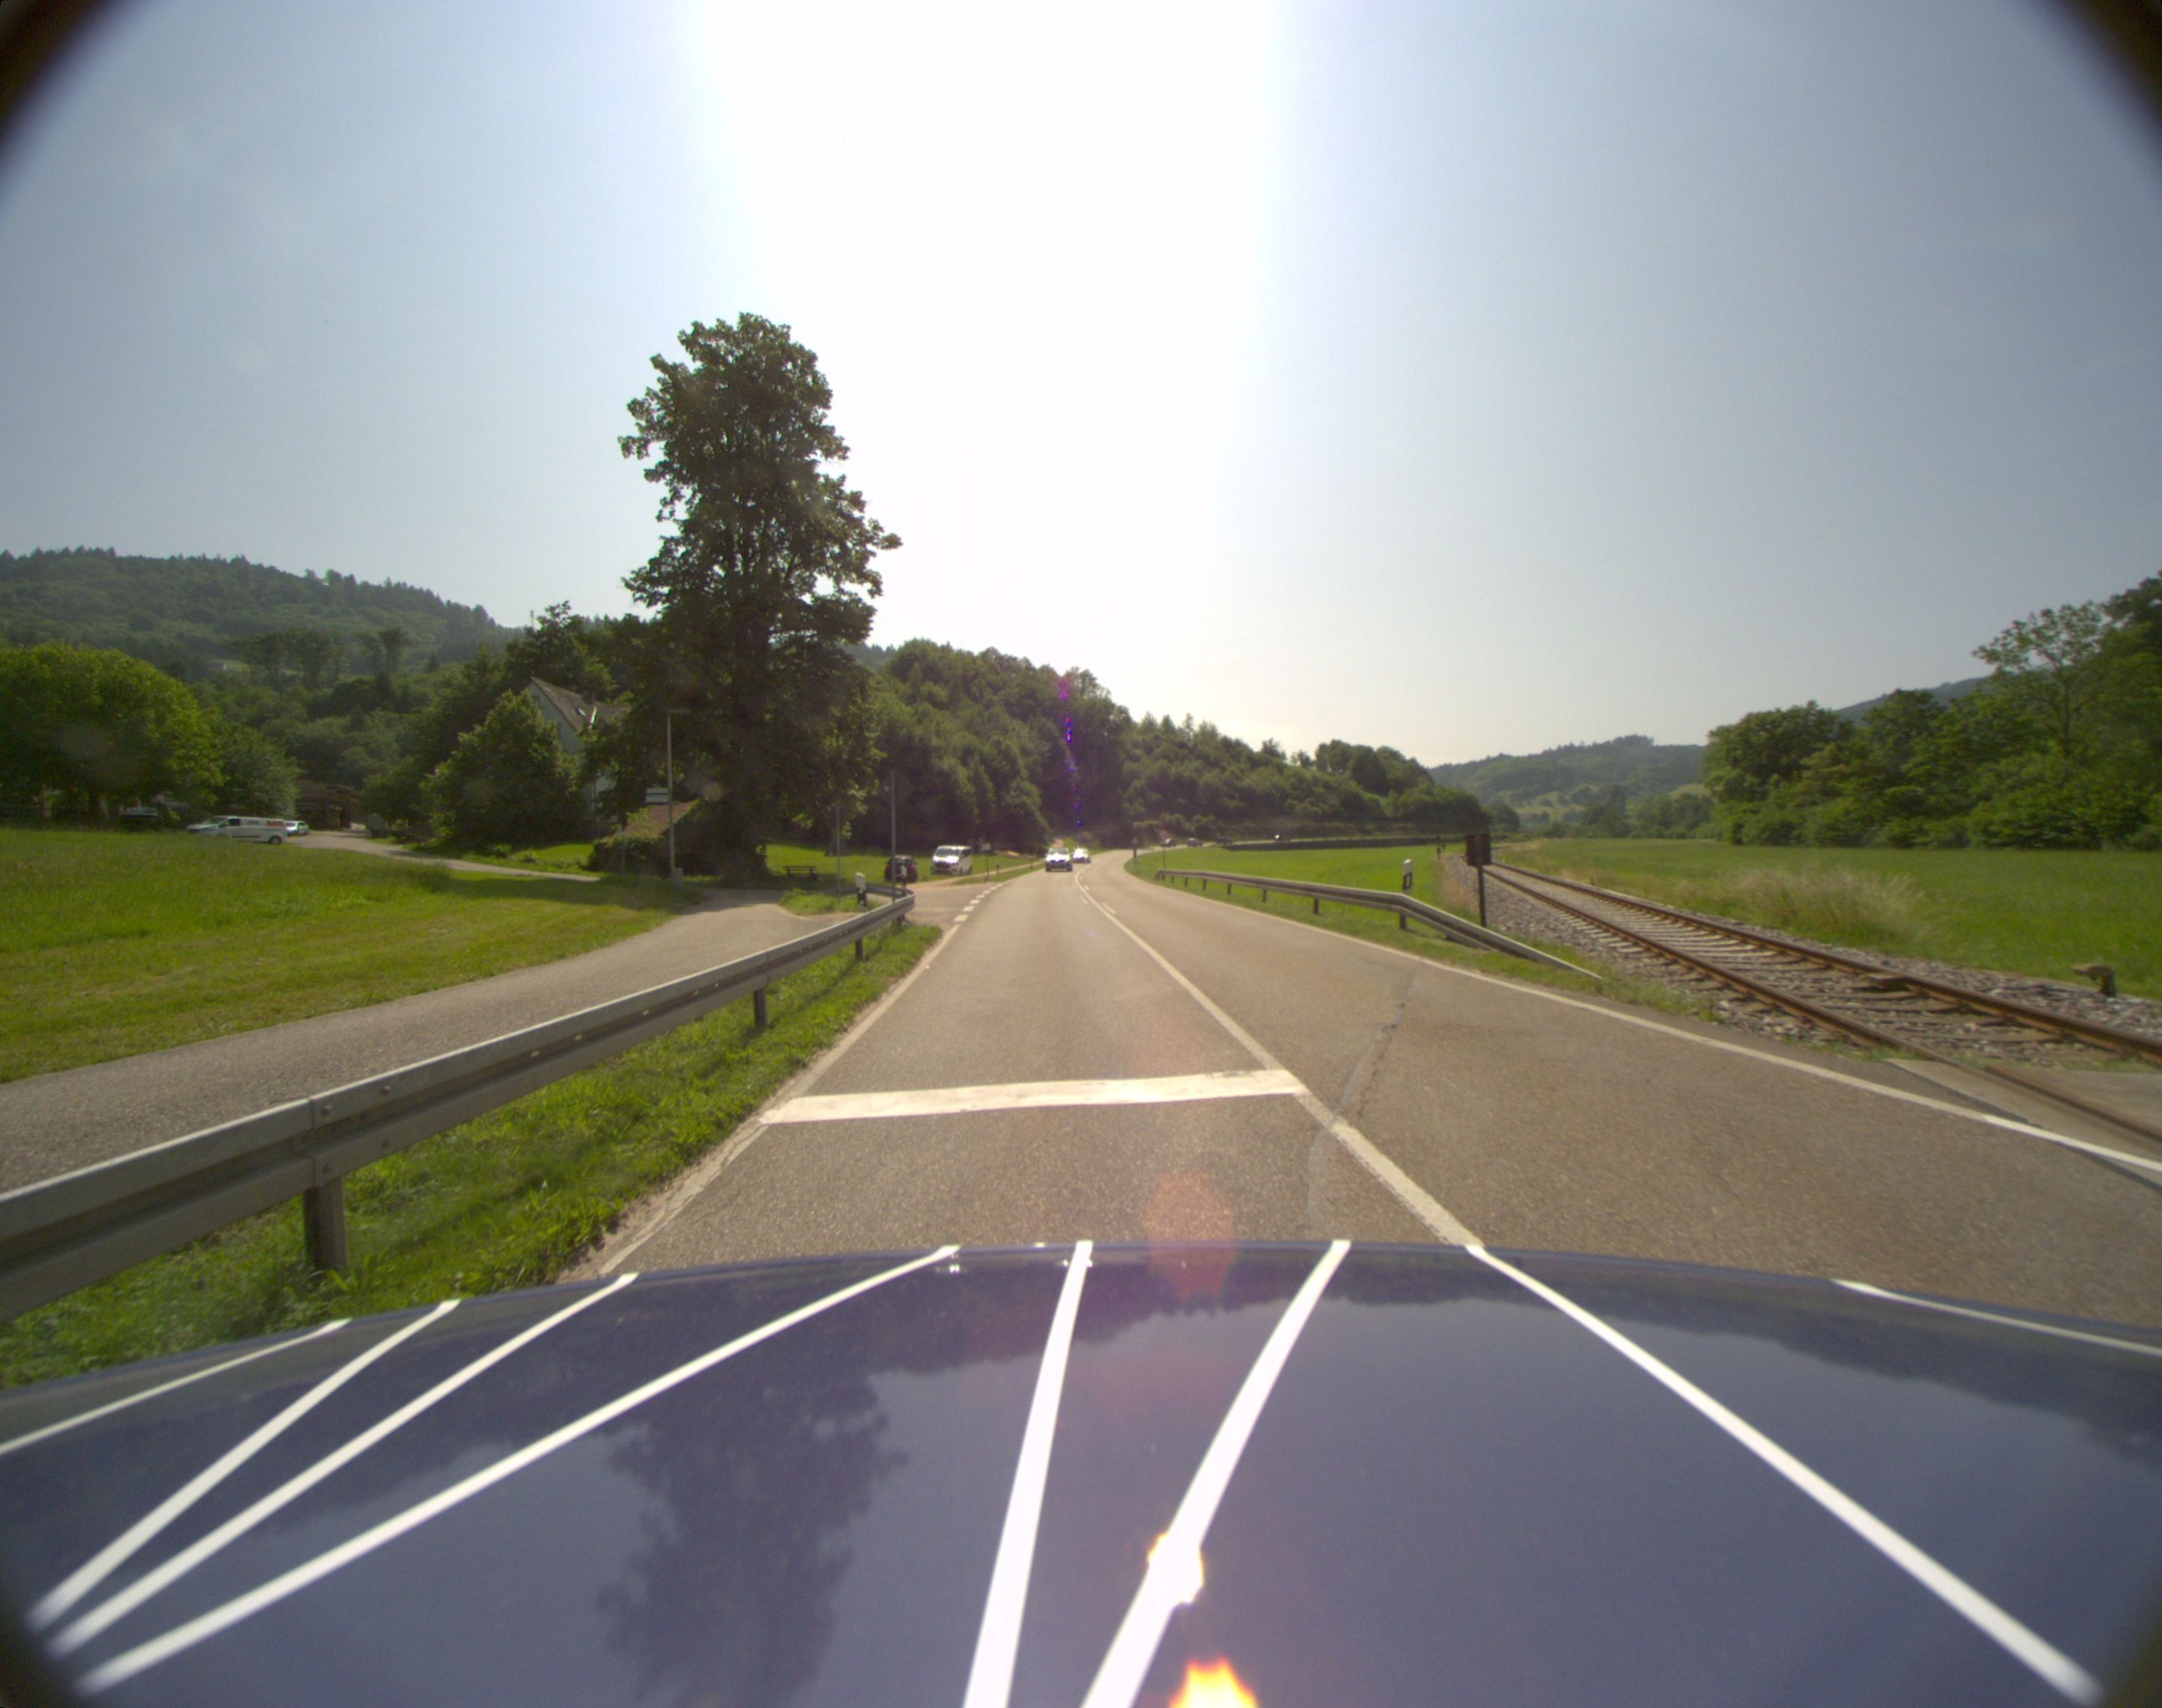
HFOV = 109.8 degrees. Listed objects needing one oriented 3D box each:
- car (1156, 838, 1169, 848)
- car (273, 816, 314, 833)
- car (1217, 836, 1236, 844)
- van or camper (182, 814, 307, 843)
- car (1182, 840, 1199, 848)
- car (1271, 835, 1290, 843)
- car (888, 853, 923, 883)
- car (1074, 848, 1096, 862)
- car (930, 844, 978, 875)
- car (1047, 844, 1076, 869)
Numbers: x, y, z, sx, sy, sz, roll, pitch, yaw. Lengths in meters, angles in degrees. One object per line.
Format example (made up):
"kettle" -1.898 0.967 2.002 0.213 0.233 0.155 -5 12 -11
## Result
"car" 16.747 -2.189 155.906 1.996 2.002 4.005 0 1 19
"car" -82.404 -3.098 79.534 2.003 1.608 3.990 0 1 -31
"car" 32.376 -3.167 169.050 1.866 1.615 4.518 3 5 42
"van or camper" -59.752 -1.778 54.458 2.815 1.938 5.437 0 1 3
"car" 23.000 -2.063 159.325 1.916 1.704 4.168 1 1 35
"car" 48.301 -3.600 183.856 4.519 1.461 1.919 1 -5 -34
"car" -9.831 0.736 42.720 1.679 1.449 3.711 1 2 -10
"car" 0.367 0.067 80.891 2.146 1.482 4.671 0 0 -1
"car" -8.483 0.312 51.183 2.003 1.838 4.869 4 1 4
"car" -1.540 0.171 58.367 2.118 1.804 4.453 0 1 -2
